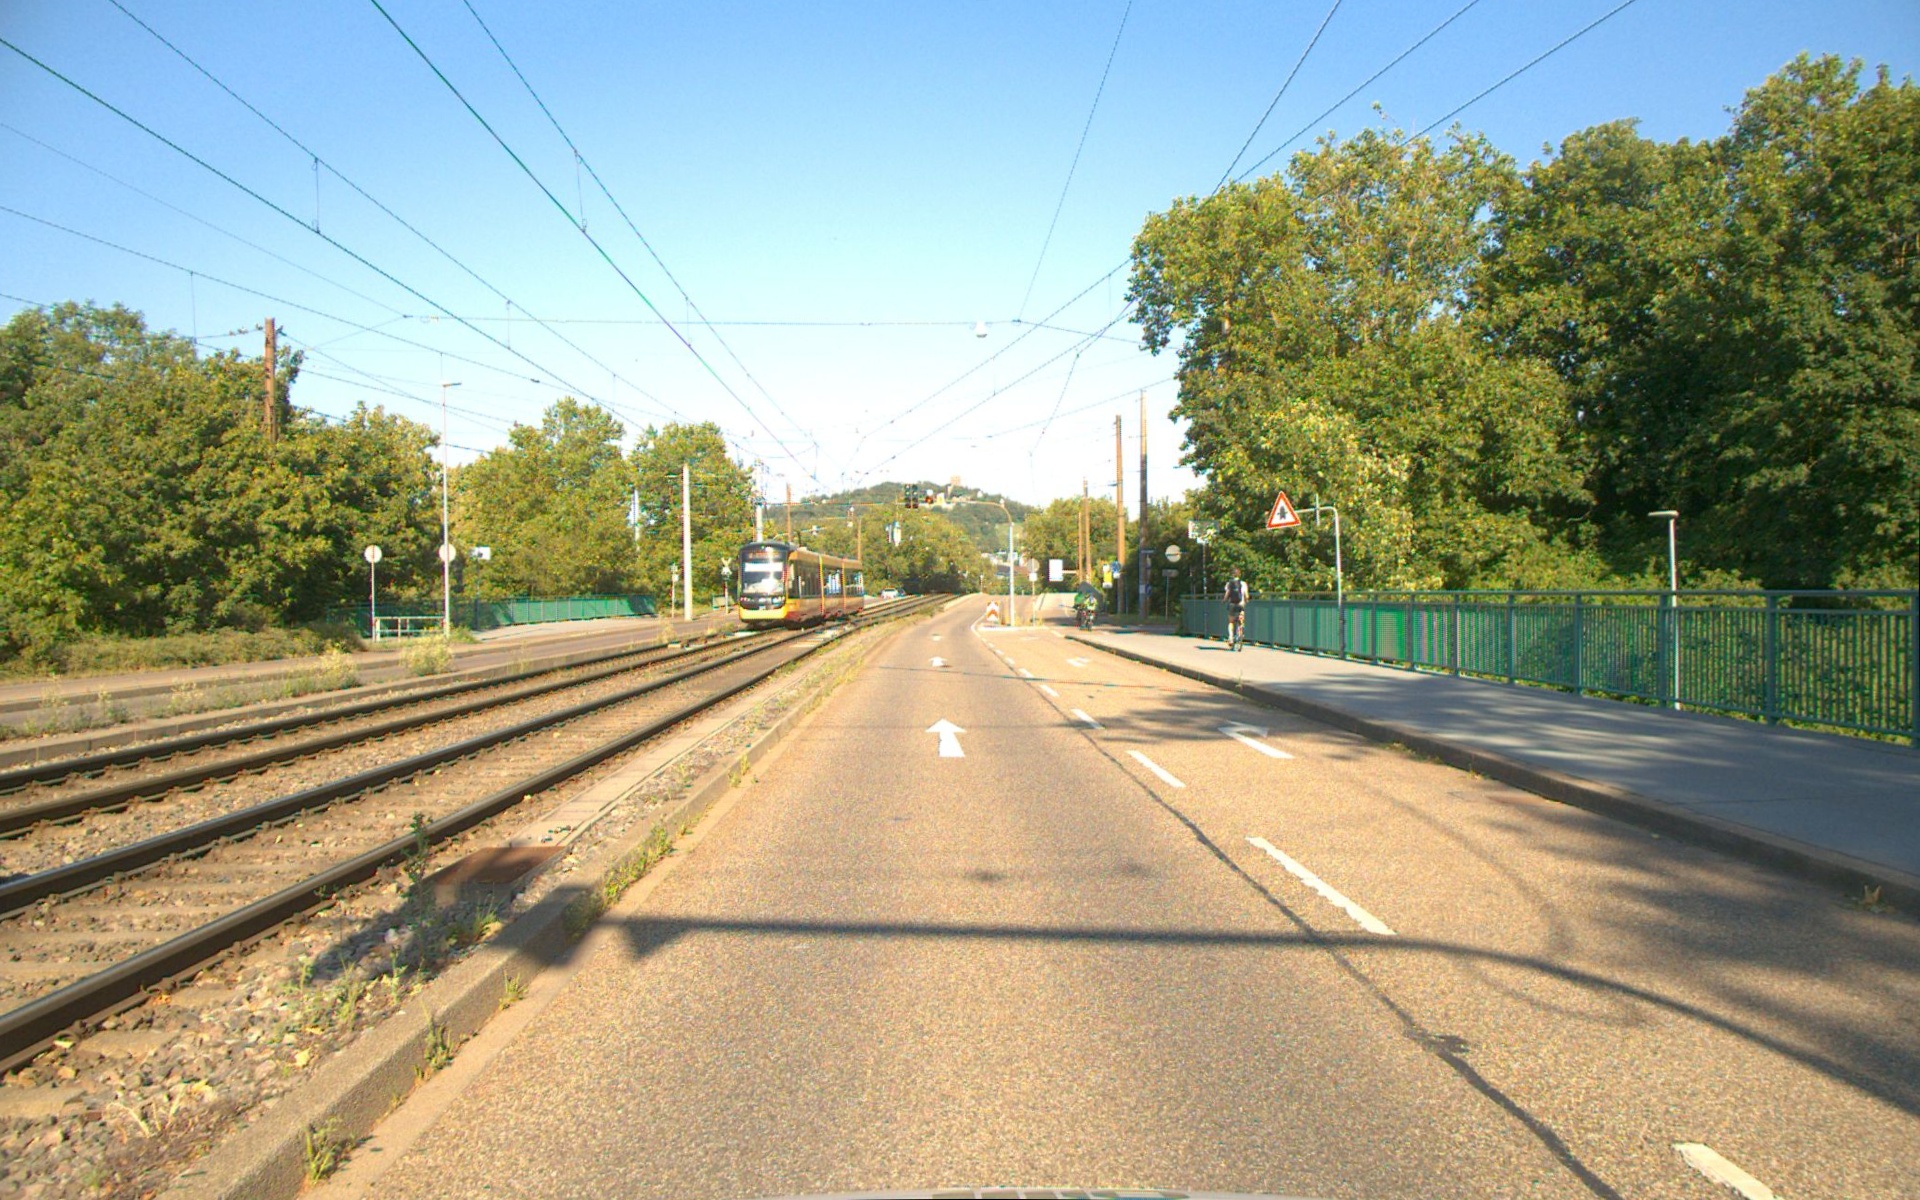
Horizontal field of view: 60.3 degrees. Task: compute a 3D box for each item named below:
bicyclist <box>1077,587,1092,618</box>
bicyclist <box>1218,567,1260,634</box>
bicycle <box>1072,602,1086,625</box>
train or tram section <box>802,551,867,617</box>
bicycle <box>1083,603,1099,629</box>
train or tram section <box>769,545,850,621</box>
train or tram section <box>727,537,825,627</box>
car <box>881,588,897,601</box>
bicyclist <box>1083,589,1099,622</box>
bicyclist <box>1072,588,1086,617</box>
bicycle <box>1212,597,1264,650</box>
[{"bbox_3d":[5.736,0.099,76.216,0.592,1.403,0.975,-1,0,-1],"label":"bicyclist"},{"bbox_3d":[6.528,0.001,38.763,0.807,1.547,0.975,-1,0,-1],"label":"bicyclist"},{"bbox_3d":[5.719,0.632,79.569,0.528,1.060,1.975,-1,0,-1],"label":"bicycle"},{"bbox_3d":[-6.999,-0.905,93.332,2.589,3.533,8.897,-1,0,3],"label":"train or tram section"},{"bbox_3d":[5.668,0.678,71.553,0.504,1.060,1.975,-1,0,-1],"label":"bicycle"},{"bbox_3d":[-7.454,-0.837,83.499,2.589,3.537,10.836,-1,0,3],"label":"train or tram section"},{"bbox_3d":[-7.907,-0.745,72.633,2.589,3.629,10.836,-1,0,3],"label":"train or tram section"},{"bbox_3d":[-8.813,-0.680,205.602,1.910,1.512,3.999,-1,0,-1],"label":"car"},{"bbox_3d":[5.655,0.229,71.587,0.592,1.403,0.975,-1,0,-1],"label":"bicyclist"},{"bbox_3d":[5.707,0.111,79.555,0.592,1.403,0.975,-1,0,-1],"label":"bicyclist"},{"bbox_3d":[6.530,0.527,38.940,0.713,1.196,2.694,-1,0,-1],"label":"bicycle"}]
